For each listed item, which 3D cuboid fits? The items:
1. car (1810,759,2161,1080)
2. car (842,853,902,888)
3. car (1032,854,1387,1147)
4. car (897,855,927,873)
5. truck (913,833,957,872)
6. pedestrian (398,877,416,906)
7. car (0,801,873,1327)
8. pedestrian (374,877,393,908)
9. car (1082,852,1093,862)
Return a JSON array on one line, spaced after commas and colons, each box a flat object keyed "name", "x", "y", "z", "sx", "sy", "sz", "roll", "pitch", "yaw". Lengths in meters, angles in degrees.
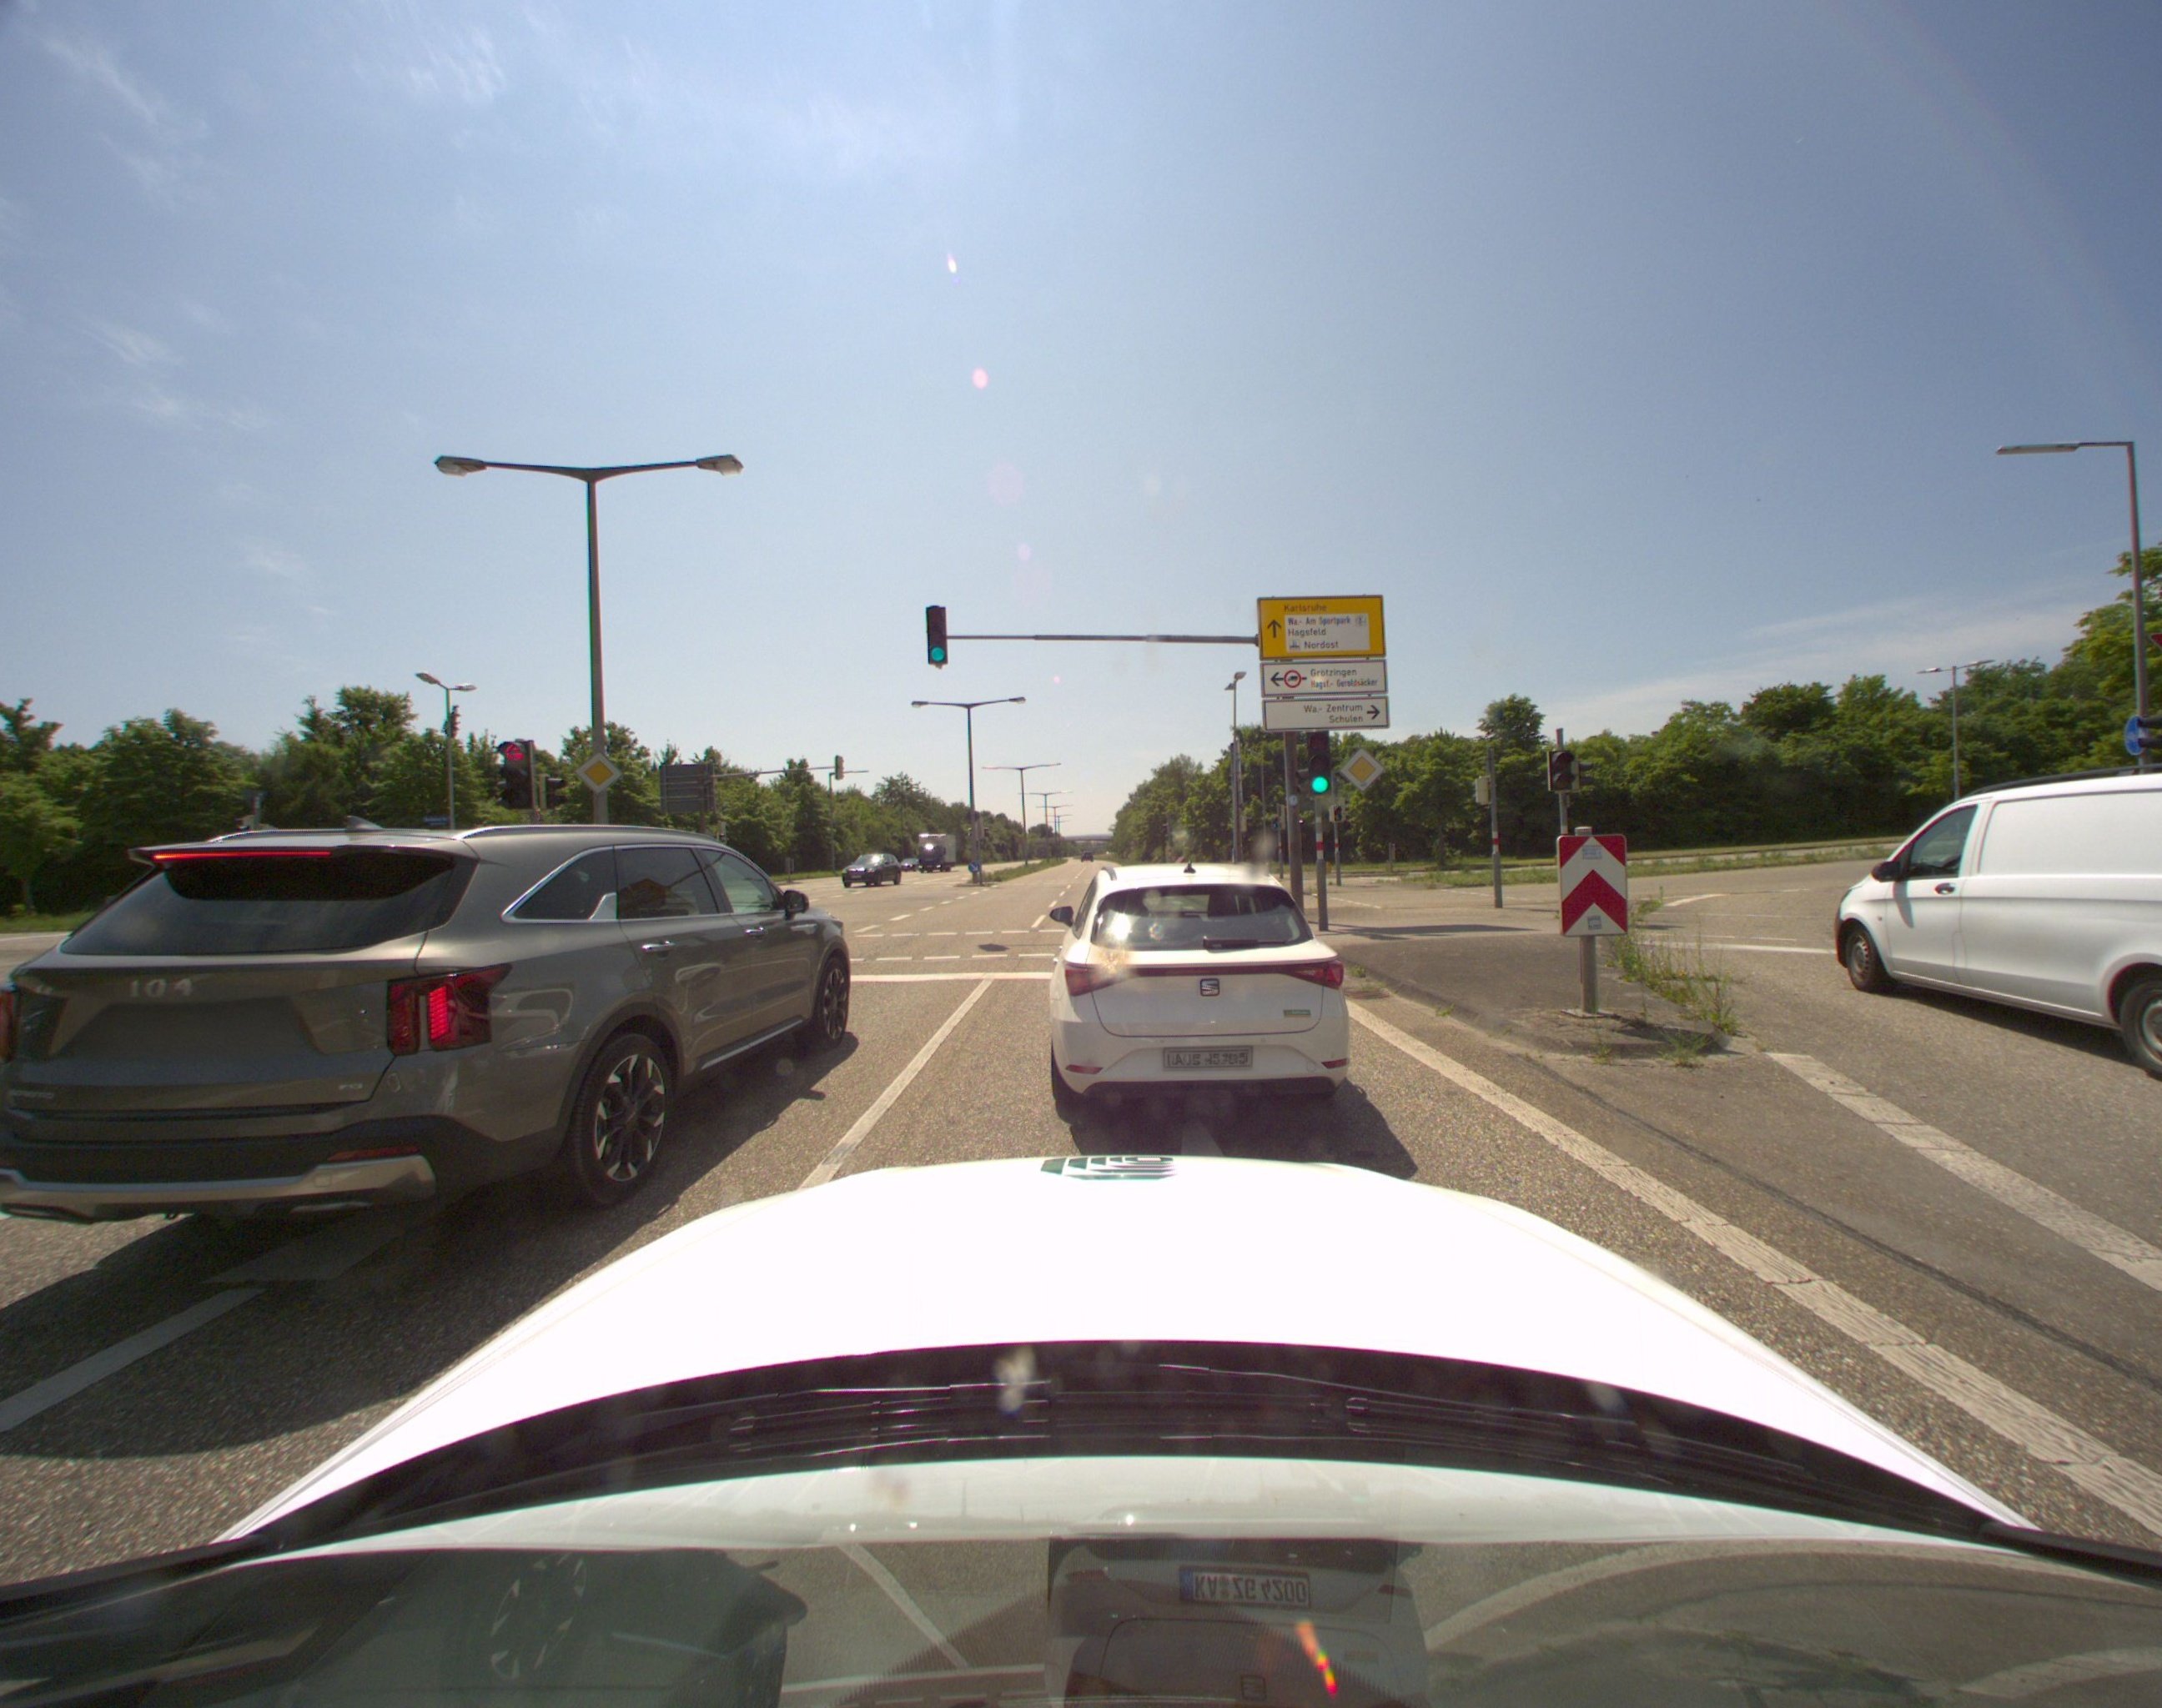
[{"name": "car", "x": 7.521, "y": 0.329, "z": 5.747, "sx": 1.844, "sy": 1.818, "sz": 4.933, "roll": -2, "pitch": 0, "yaw": 20}, {"name": "car", "x": -10.958, "y": 0.817, "z": 42.954, "sx": 1.699, "sy": 1.663, "sz": 4.229, "roll": -2, "pitch": 0, "yaw": 5}, {"name": "car", "x": 0.687, "y": 0.739, "z": 5.857, "sx": 1.728, "sy": 1.428, "sz": 3.696, "roll": 0, "pitch": -1, "yaw": 2}, {"name": "car", "x": -17.419, "y": 1.031, "z": 84.101, "sx": 1.816, "sy": 1.732, "sz": 4.928, "roll": -2, "pitch": 0, "yaw": 2}, {"name": "truck", "x": -13.951, "y": -0.163, "z": 78.597, "sx": 2.678, "sy": 3.570, "sz": 7.269, "roll": -2, "pitch": 0, "yaw": 1}, {"name": "pedestrian", "x": -36.739, "y": 2.030, "z": 44.408, "sx": 0.620, "sy": 1.503, "sz": 0.790, "roll": -2, "pitch": 0, "yaw": -34}, {"name": "car", "x": -2.857, "y": 0.694, "z": 4.976, "sx": 1.797, "sy": 1.662, "sz": 4.646, "roll": -2, "pitch": 0, "yaw": 2}, {"name": "pedestrian", "x": -37.588, "y": 2.065, "z": 43.880, "sx": 0.620, "sy": 1.603, "sz": 0.790, "roll": -2, "pitch": 0, "yaw": -34}, {"name": "car", "x": 1.094, "y": 0.519, "z": 143.514, "sx": 1.848, "sy": 1.709, "sz": 4.000, "roll": -2, "pitch": 0, "yaw": 1}]
